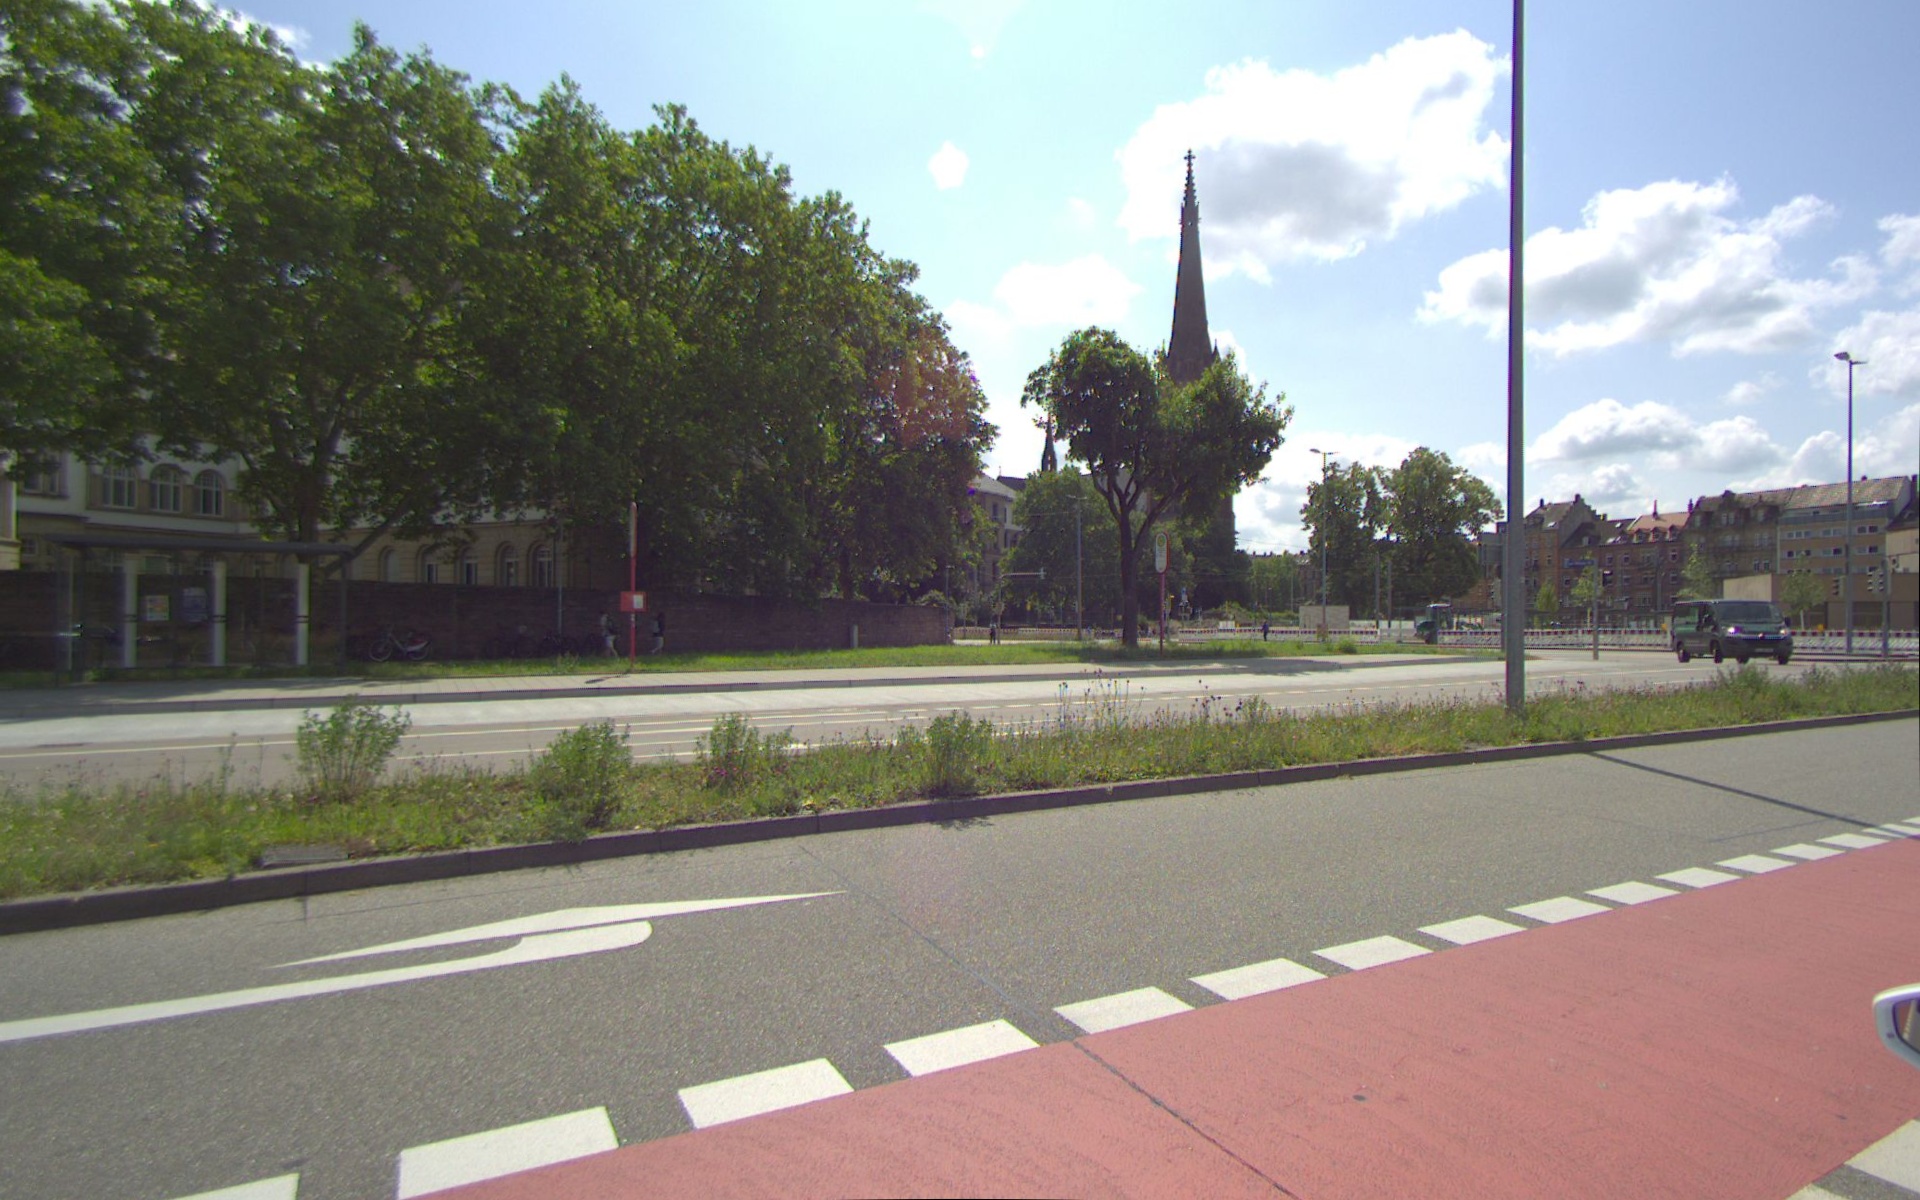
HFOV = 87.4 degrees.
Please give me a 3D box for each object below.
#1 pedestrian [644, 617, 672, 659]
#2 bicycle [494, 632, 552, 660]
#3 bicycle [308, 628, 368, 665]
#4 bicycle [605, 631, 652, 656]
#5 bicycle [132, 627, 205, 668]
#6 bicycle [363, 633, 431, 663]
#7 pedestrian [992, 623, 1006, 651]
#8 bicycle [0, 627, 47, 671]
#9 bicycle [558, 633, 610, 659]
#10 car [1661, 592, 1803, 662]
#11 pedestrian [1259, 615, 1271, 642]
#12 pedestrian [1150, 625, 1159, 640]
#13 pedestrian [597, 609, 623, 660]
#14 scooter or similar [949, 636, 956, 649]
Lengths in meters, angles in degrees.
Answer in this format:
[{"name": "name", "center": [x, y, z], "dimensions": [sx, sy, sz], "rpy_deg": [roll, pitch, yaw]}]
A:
[{"name": "pedestrian", "center": [-10.419, 1.302, 34.661], "dimensions": [0.720, 1.413, 0.714], "rpy_deg": [1, -1, -35]}, {"name": "bicycle", "center": [-14.002, 1.464, 32.208], "dimensions": [0.378, 0.828, 1.743], "rpy_deg": [0, -1, 36]}, {"name": "bicycle", "center": [-17.150, 1.267, 27.713], "dimensions": [0.260, 0.977, 1.391], "rpy_deg": [0, -1, 36]}, {"name": "bicycle", "center": [-11.765, 1.541, 35.679], "dimensions": [0.324, 0.828, 1.743], "rpy_deg": [0, -1, 36]}, {"name": "bicycle", "center": [-19.407, 1.159, 24.643], "dimensions": [0.260, 0.977, 1.391], "rpy_deg": [0, -1, 36]}, {"name": "bicycle", "center": [-16.230, 1.382, 29.010], "dimensions": [0.324, 0.828, 1.743], "rpy_deg": [0, -1, 36]}, {"name": "pedestrian", "center": [2.890, 2.766, 74.733], "dimensions": [0.713, 2.040, 0.721], "rpy_deg": [1, -1, -32]}, {"name": "bicycle", "center": [-21.247, 1.092, 22.322], "dimensions": [0.260, 0.977, 1.391], "rpy_deg": [0, -1, 36]}, {"name": "bicycle", "center": [-12.770, 1.553, 34.152], "dimensions": [0.324, 0.828, 1.743], "rpy_deg": [0, -1, 36]}, {"name": "car", "center": [26.363, 0.980, 34.550], "dimensions": [2.112, 2.204, 5.021], "rpy_deg": [-2, -3, 16]}, {"name": "pedestrian", "center": [22.771, 2.127, 75.037], "dimensions": [0.625, 2.040, 0.643], "rpy_deg": [1, -1, -32]}, {"name": "pedestrian", "center": [21.413, 3.585, 110.566], "dimensions": [0.842, 1.685, 0.751], "rpy_deg": [0, -1, 29]}, {"name": "pedestrian", "center": [-10.253, 1.004, 29.414], "dimensions": [0.627, 1.492, 0.506], "rpy_deg": [1, -1, -32]}, {"name": "scooter or similar", "center": [-0.427, 2.479, 58.980], "dimensions": [0.117, 0.721, 1.005], "rpy_deg": [0, -1, 17]}]
